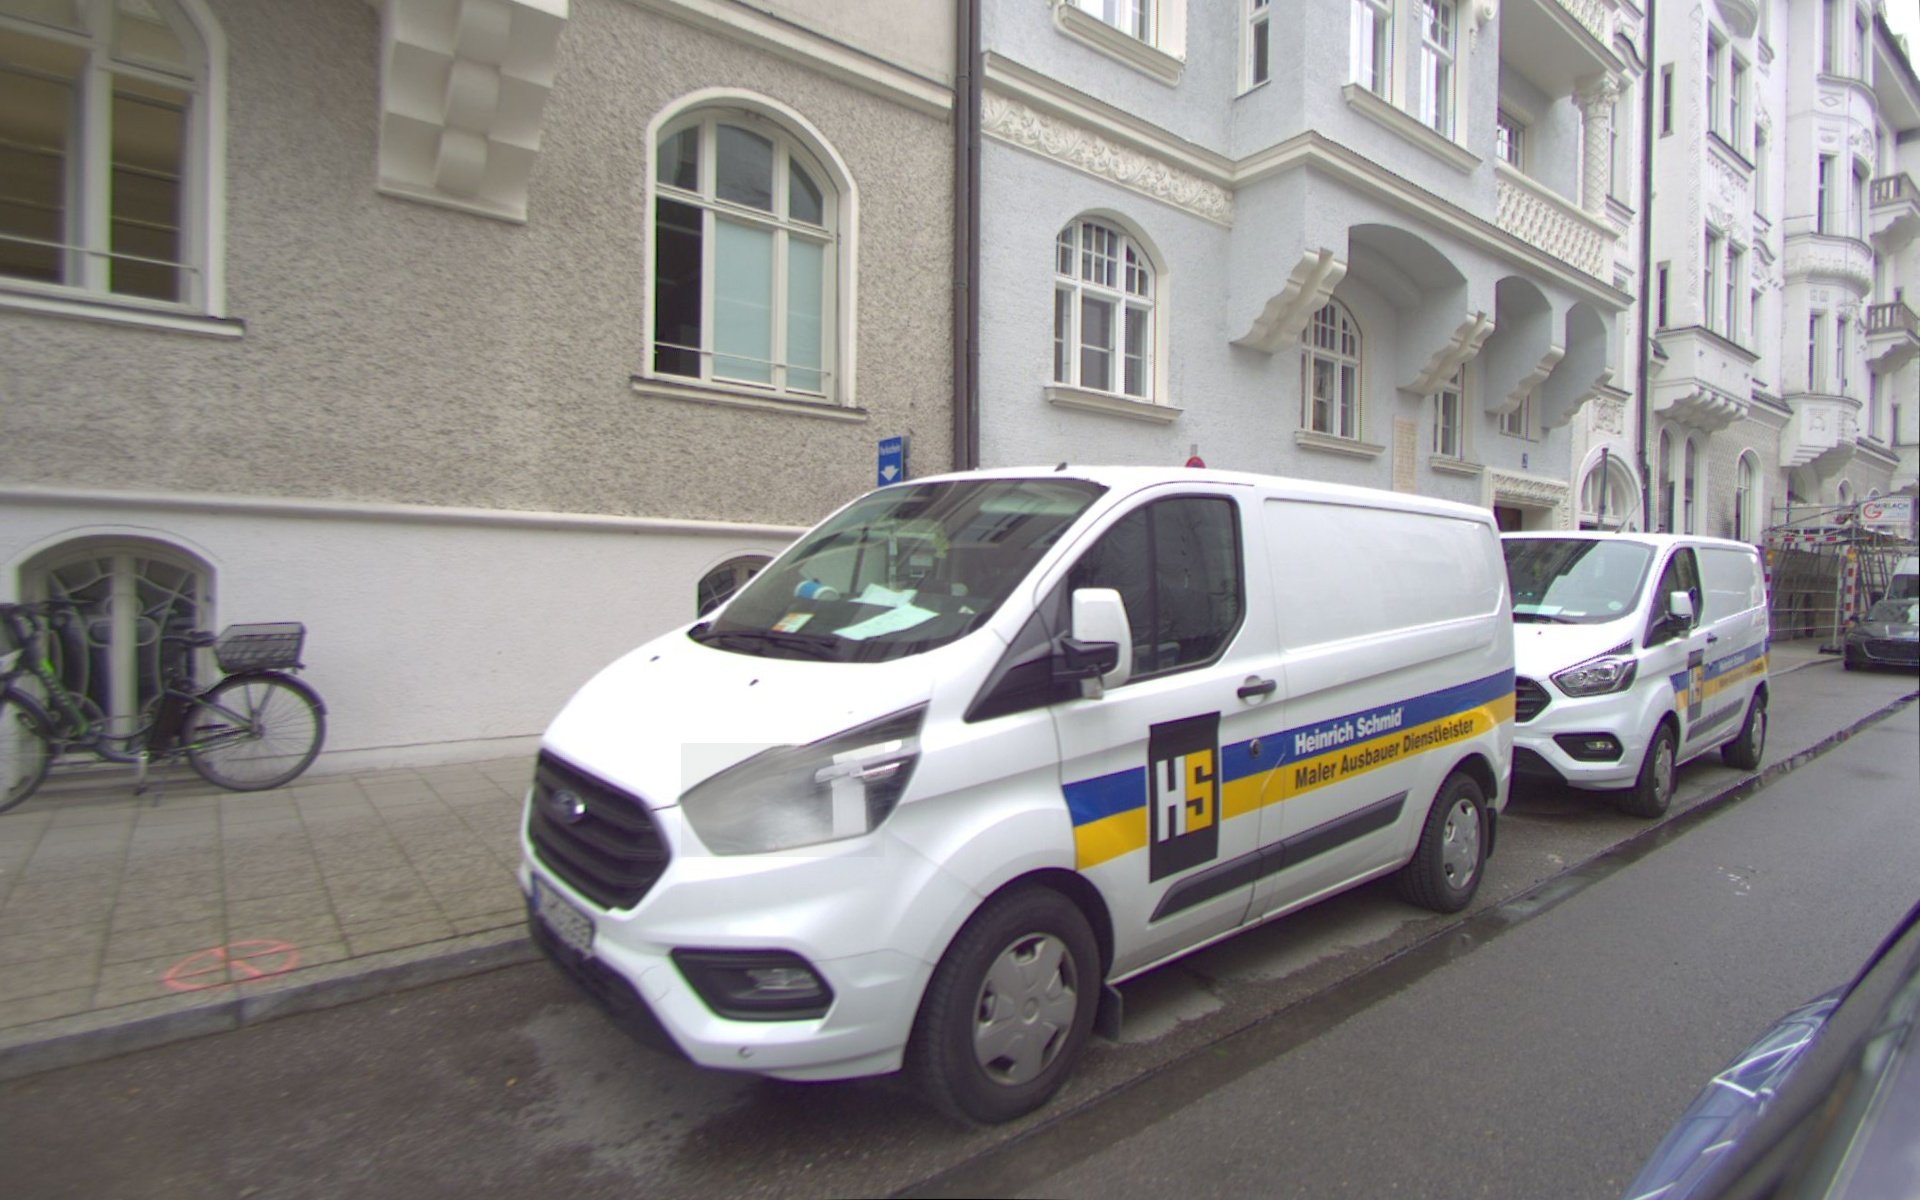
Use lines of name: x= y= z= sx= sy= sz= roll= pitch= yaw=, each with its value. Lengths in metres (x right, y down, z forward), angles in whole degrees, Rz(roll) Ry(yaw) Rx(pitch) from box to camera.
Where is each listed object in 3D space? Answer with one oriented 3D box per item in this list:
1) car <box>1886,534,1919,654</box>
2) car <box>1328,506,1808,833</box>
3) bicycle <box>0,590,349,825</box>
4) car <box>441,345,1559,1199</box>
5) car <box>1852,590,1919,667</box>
car: x=24.118 y=-0.137 z=24.218 sx=5.347 sy=2.721 sz=2.082 roll=0 pitch=3 yaw=-39
car: x=5.201 y=0.371 z=8.344 sx=4.793 sy=1.942 sz=1.997 roll=0 pitch=2 yaw=-41
bicycle: x=-4.446 y=0.526 z=5.668 sx=1.691 sy=1.147 sz=0.668 roll=0 pitch=1 yaw=-39
car: x=0.616 y=0.409 z=4.404 sx=4.801 sy=1.942 sz=1.997 roll=0 pitch=2 yaw=-41
car: x=19.477 y=0.530 z=20.269 sx=4.168 sy=1.425 sz=1.792 roll=0 pitch=2 yaw=-40
